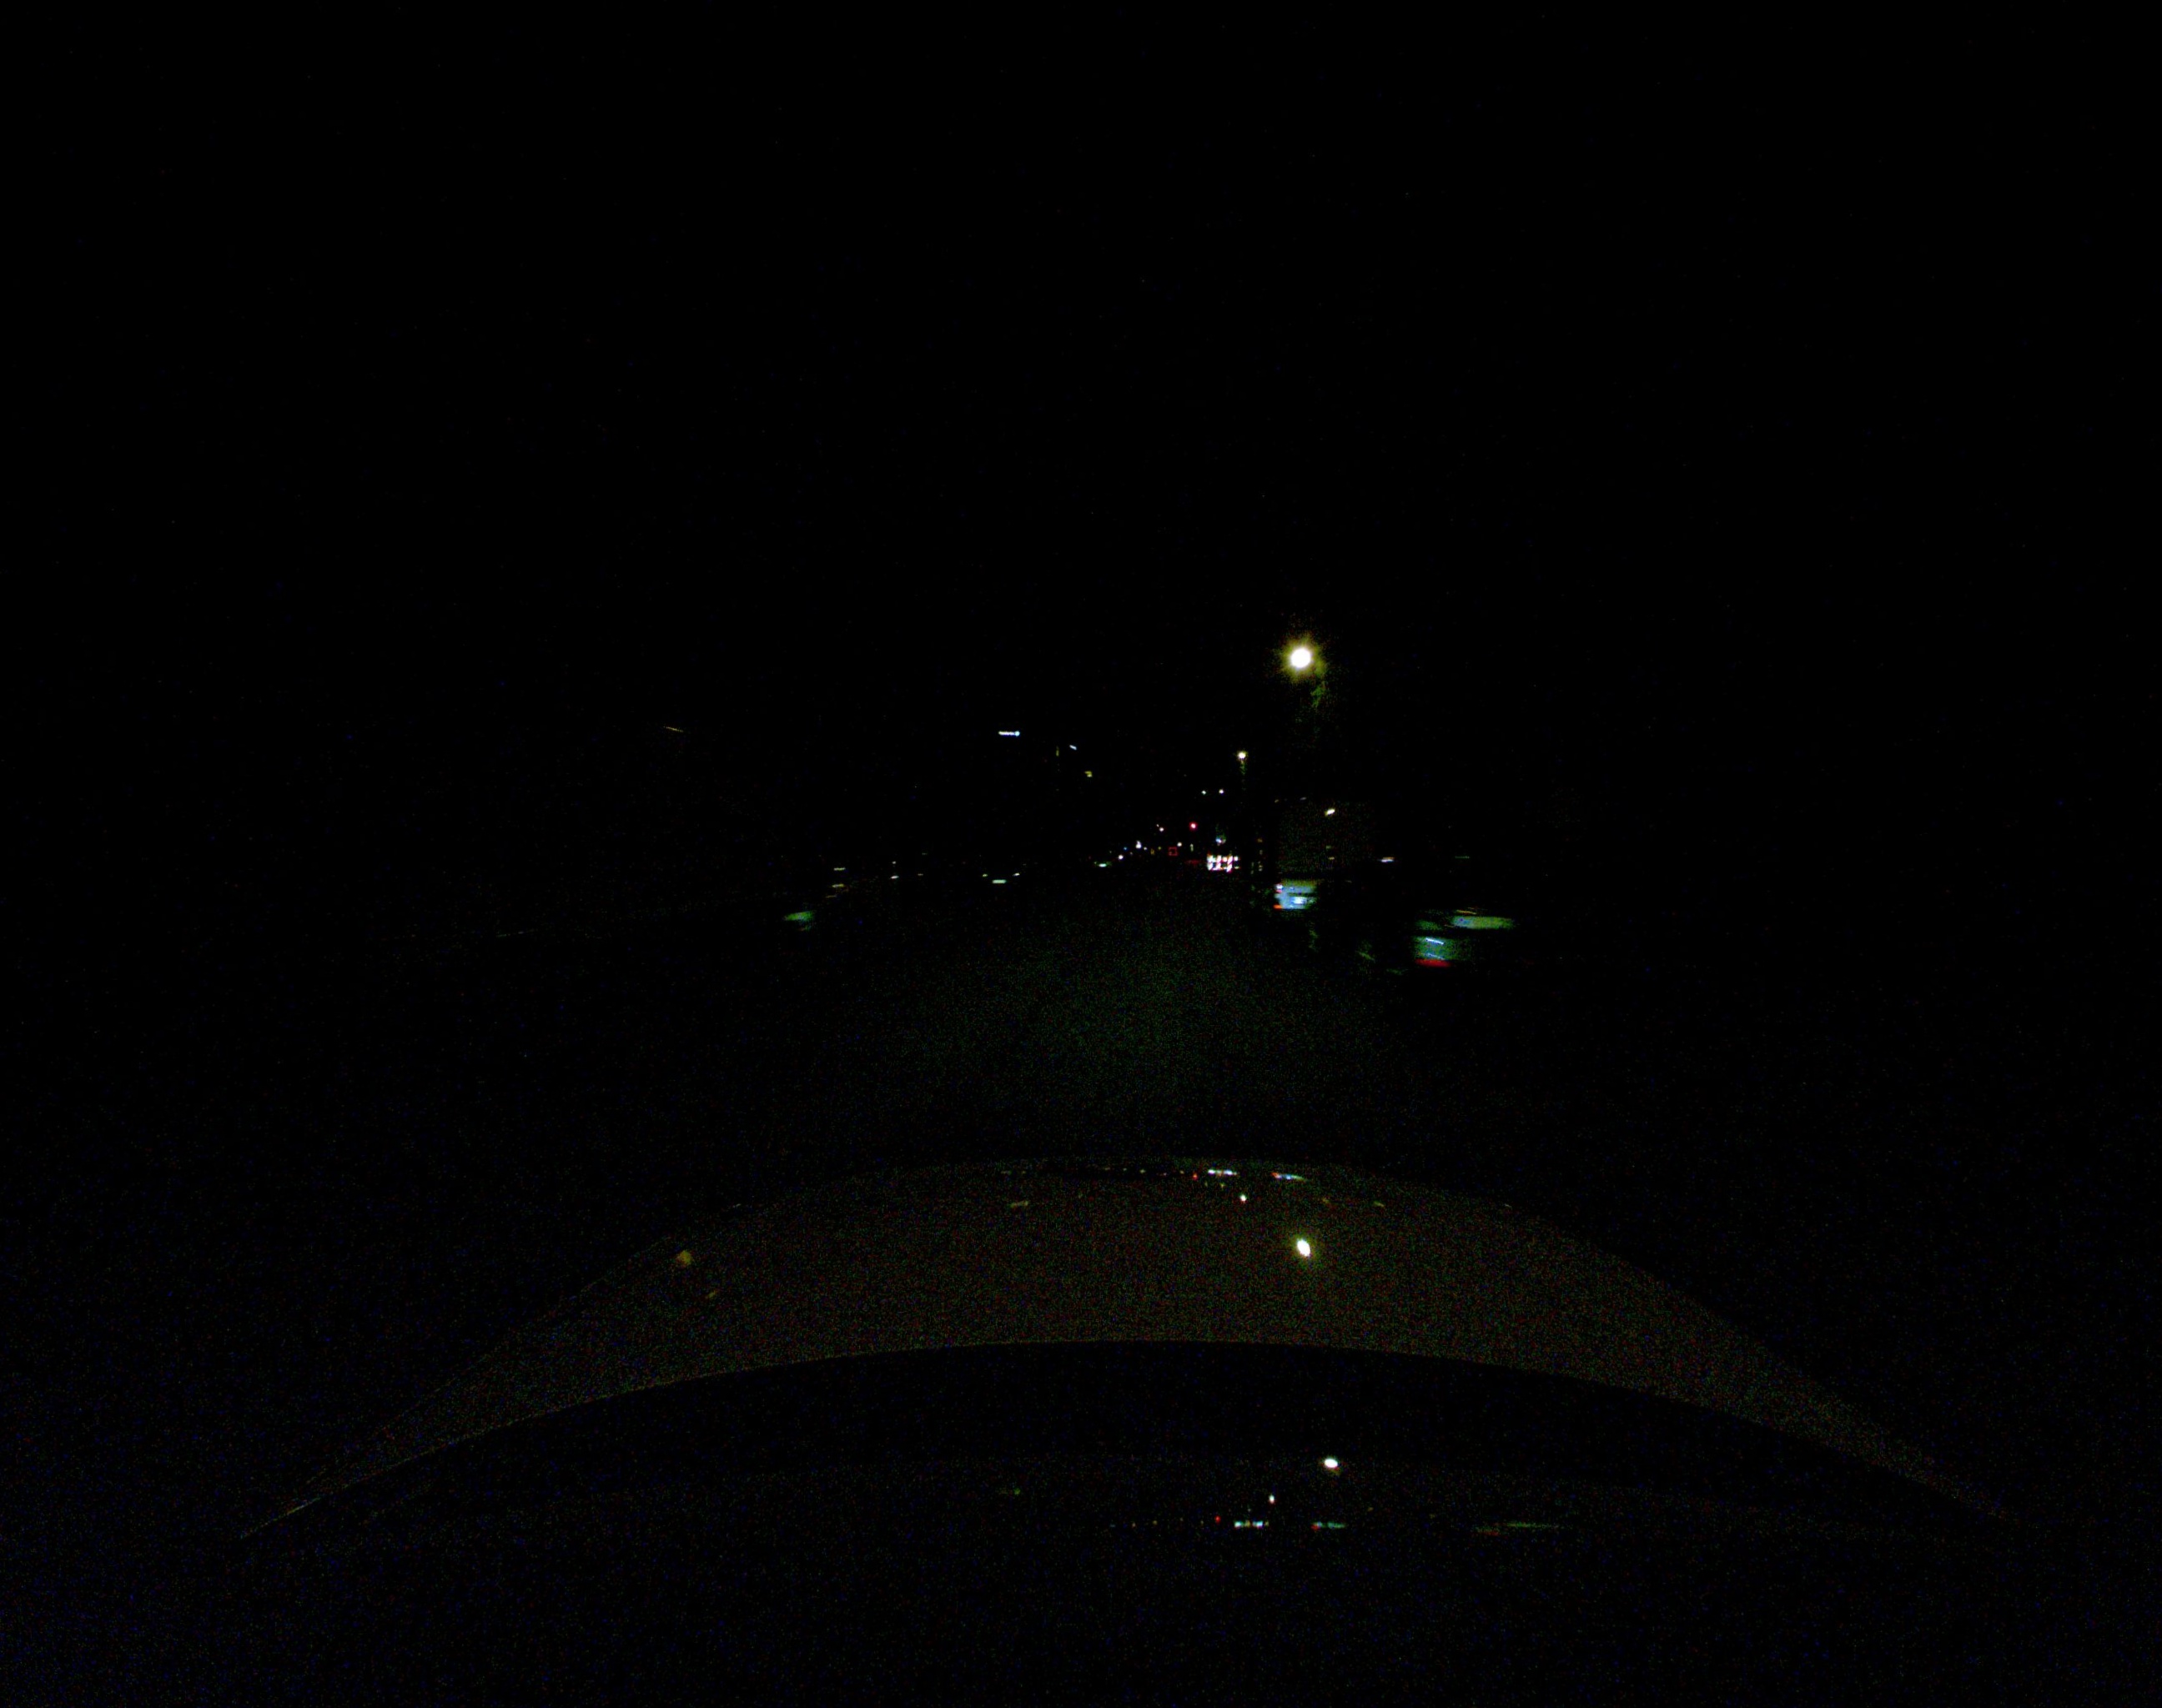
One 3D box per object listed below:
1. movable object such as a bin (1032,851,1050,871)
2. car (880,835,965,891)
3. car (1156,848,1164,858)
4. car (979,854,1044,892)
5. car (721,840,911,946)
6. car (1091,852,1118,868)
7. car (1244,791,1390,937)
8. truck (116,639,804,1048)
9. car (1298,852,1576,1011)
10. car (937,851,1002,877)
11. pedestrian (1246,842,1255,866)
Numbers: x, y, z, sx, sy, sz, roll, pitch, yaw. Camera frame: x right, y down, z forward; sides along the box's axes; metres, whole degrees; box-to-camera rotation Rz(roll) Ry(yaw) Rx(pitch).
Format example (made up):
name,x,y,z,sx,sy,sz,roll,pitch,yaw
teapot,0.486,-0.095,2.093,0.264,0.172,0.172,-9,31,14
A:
name,x,y,z,sx,sy,sz,roll,pitch,yaw
movable object such as a bin,-3.054,0.545,62.549,1.159,1.496,1.067,-2,0,5
car,-7.275,0.381,37.930,1.980,2.321,4.982,-3,0,11
car,24.657,-0.296,254.466,1.985,2.974,4.003,-1,0,3
car,-2.899,0.784,35.097,1.744,1.526,4.333,-1,0,9
car,-5.183,0.687,16.780,1.820,1.816,4.847,-2,0,6
car,2.221,0.516,74.539,1.900,1.404,4.348,-2,0,8
car,4.701,0.165,17.176,2.010,2.526,6.063,0,0,7
truck,-6.369,-0.078,10.305,2.531,3.280,7.323,-1,0,5
car,4.082,0.759,10.264,1.703,1.508,4.645,-1,0,3
car,-7.563,0.689,55.406,3.965,1.571,1.821,-2,0,7
pedestrian,13.065,-0.011,62.663,0.567,1.852,0.822,-1,0,8
